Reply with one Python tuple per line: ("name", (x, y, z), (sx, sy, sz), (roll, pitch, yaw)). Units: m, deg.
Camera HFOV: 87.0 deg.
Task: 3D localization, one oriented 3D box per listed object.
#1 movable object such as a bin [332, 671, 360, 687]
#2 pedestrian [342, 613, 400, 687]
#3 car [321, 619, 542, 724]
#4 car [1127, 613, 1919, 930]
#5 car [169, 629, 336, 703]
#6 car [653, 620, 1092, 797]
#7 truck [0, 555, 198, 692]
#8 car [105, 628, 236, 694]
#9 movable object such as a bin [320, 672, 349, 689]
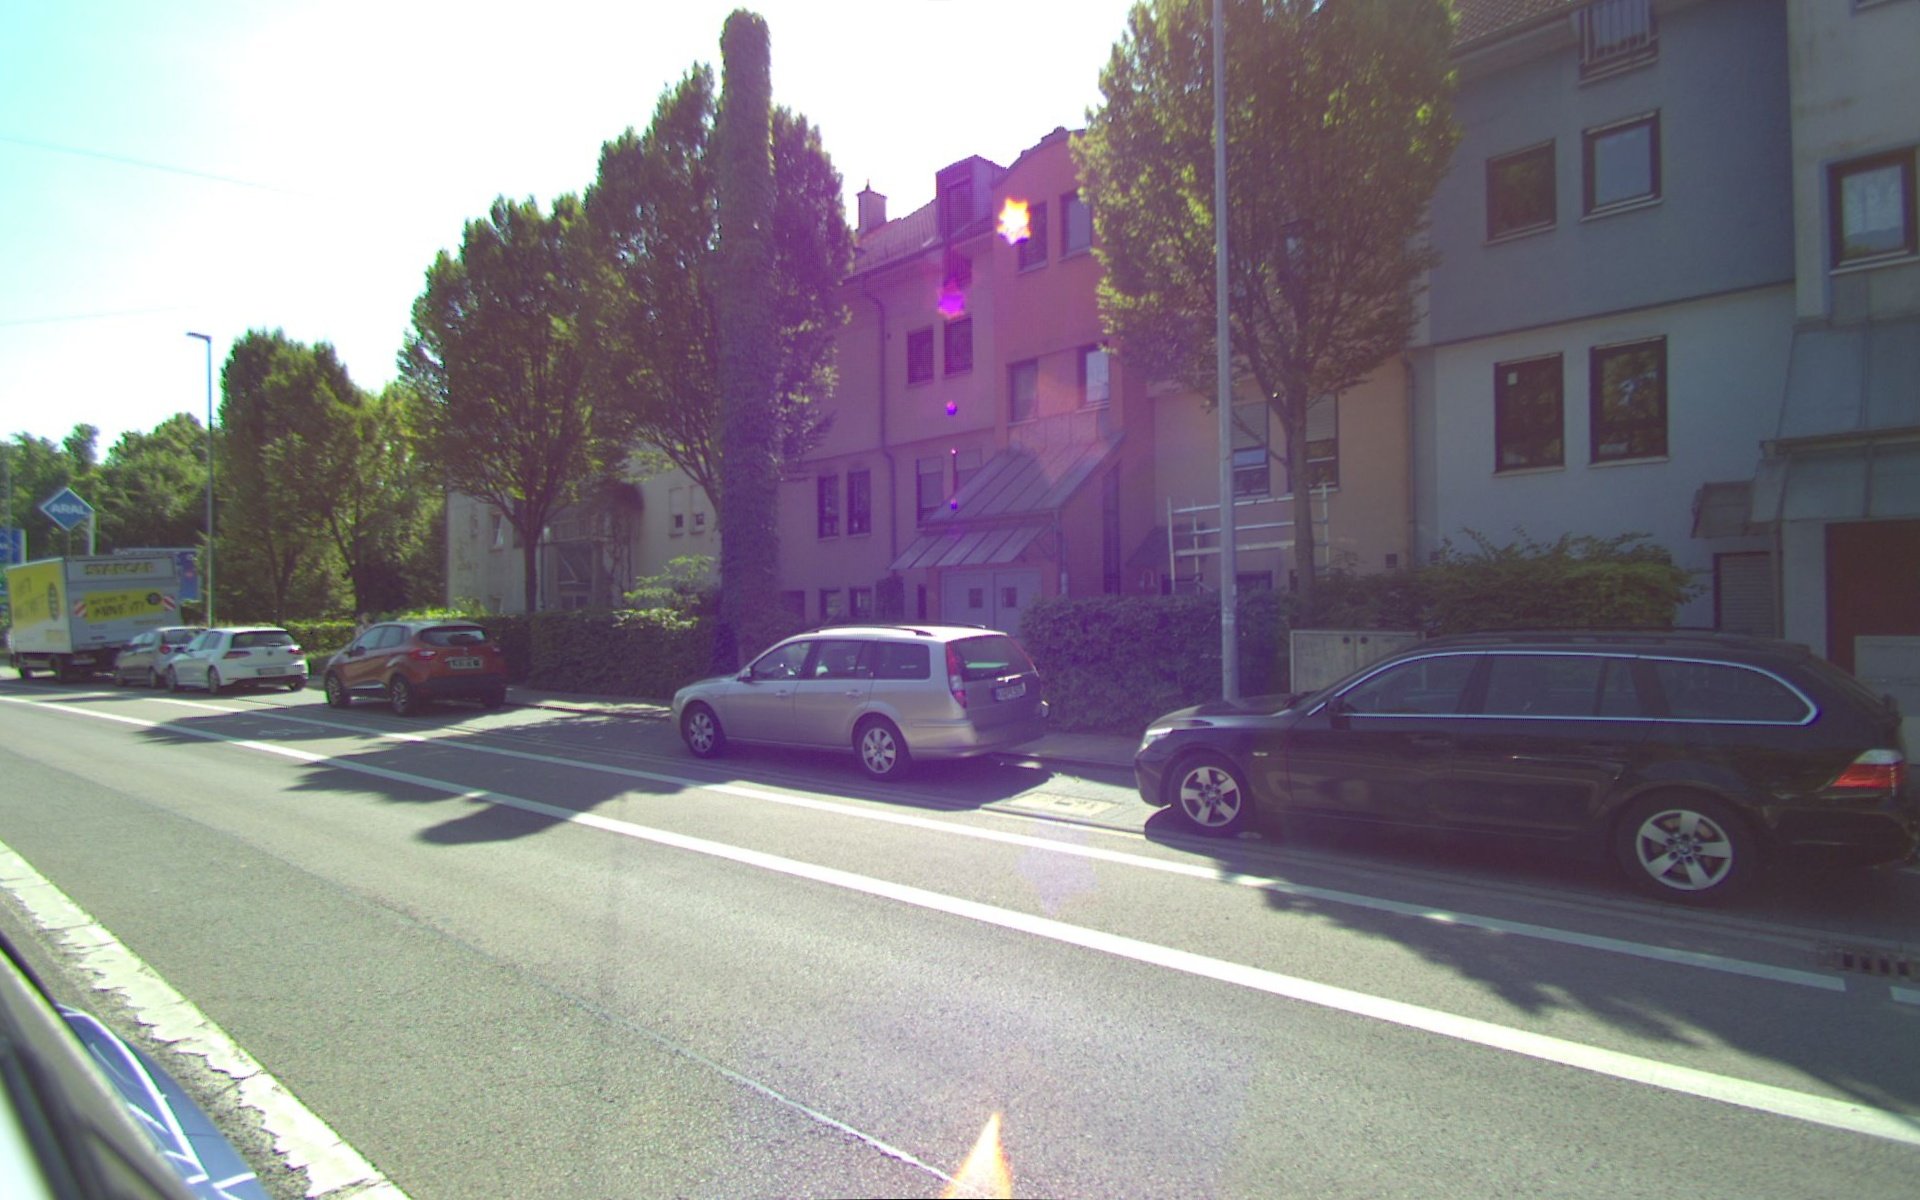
("movable object such as a bin", (-14.931, 1.916, 24.599), (0.754, 0.341, 0.323), (-2, -2, 36))
("pedestrian", (-14.011, 1.179, 24.074), (1.053, 1.703, 0.867), (-2, -2, 36))
("car", (-9.303, 1.176, 17.695), (4.310, 1.563, 1.715), (-2, 0, 37))
("car", (3.644, 0.892, 6.864), (4.709, 1.485, 1.706), (-2, 0, 39))
("car", (-15.781, 1.410, 22.510), (4.273, 1.440, 1.742), (-2, 0, 36))
("car", (-1.123, 1.007, 11.091), (4.849, 1.494, 1.764), (-1, 1, 37))
("truck", (-25.674, 0.678, 29.868), (8.573, 3.556, 2.643), (-2, 0, 36))
("car", (-20.156, 1.523, 25.804), (3.626, 1.495, 1.596), (-2, 0, 34))
("movable object such as a bin", (-14.429, 1.864, 23.342), (0.754, 0.357, 0.323), (-2, -2, 36))
